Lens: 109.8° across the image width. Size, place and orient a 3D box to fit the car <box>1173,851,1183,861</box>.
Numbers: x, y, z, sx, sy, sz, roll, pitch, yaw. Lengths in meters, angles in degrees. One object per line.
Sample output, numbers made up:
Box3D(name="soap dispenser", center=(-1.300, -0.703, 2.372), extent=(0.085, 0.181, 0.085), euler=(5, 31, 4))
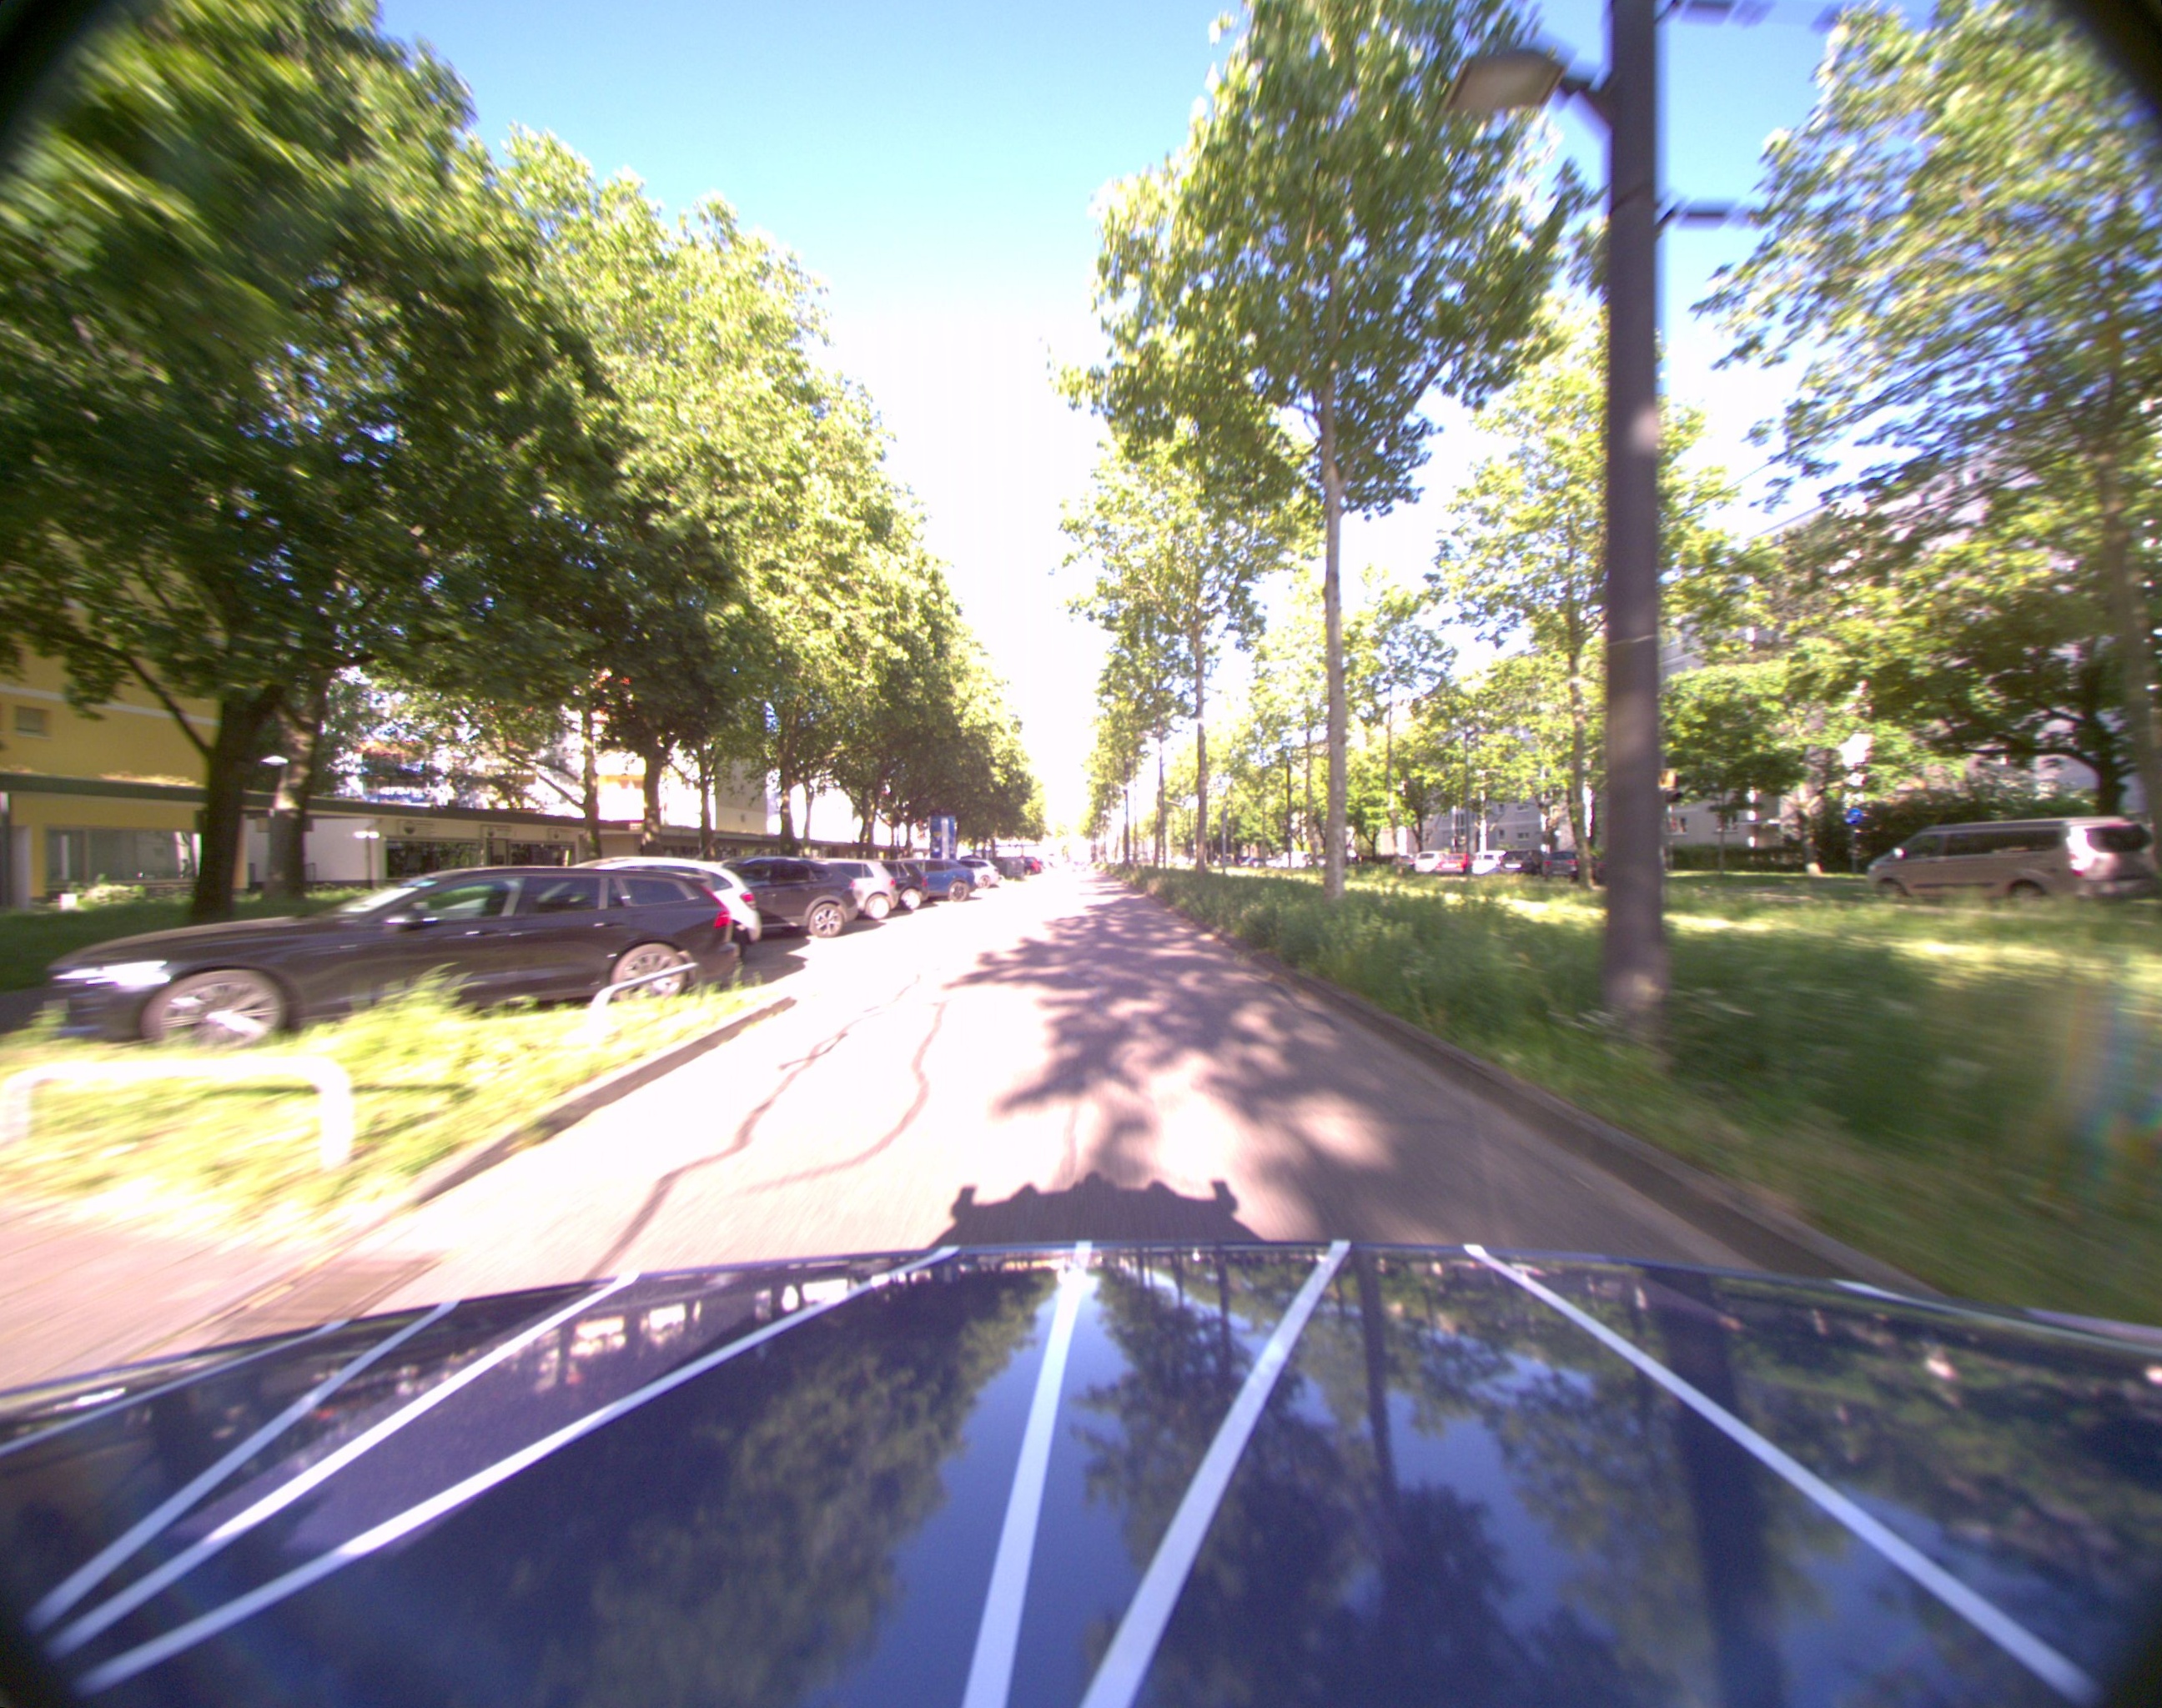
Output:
Box3D(name="car", center=(22.535, 0.557, 176.850), extent=(1.718, 2.249, 3.933), euler=(-1, 0, 0))

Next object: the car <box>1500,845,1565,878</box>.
Box3D(name="car", center=(24.542, 0.366, 41.260), extent=(4.496, 1.665, 1.790), euler=(-1, 0, -42))

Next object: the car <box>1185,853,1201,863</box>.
Box3D(name="car", center=(19.210, 0.681, 130.447), extent=(1.929, 1.497, 4.084), euler=(-3, 0, -1))

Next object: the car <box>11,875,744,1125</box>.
Box3D(name="car", center=(-5.979, 1.011, 7.255), extent=(1.973, 1.450, 4.634), euler=(0, 1, 44))

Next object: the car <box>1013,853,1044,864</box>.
Box3D(name="car", center=(-6.844, 0.594, 98.951), extent=(3.947, 1.365, 1.583), euler=(0, 0, -43))

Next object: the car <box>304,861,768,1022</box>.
Box3D(name="car", center=(-6.835, 0.916, 10.002), extent=(4.634, 1.561, 1.851), euler=(-1, 1, -43))

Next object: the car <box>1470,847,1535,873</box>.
Box3D(name="car", center=(25.155, 0.353, 45.295), extent=(4.495, 1.473, 1.613), euler=(-1, 0, -36))

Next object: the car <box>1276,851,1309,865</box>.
Box3D(name="car", center=(23.562, 0.453, 84.618), extent=(4.093, 1.424, 1.575), euler=(-1, 2, -41))

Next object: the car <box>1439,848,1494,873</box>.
Box3D(name="car", center=(24.182, 0.410, 47.655), extent=(3.929, 1.479, 1.790), euler=(-1, 0, -42))

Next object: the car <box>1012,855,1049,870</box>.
Box3D(name="car", center=(-5.349, 0.900, 81.144), extent=(3.795, 1.461, 1.646), euler=(0, 0, -43))

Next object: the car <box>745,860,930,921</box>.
Box3D(name="car", center=(-6.647, 0.918, 21.002), extent=(4.471, 1.442, 1.914), euler=(0, 2, -42))

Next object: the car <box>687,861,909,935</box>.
Box3D(name="car", center=(-6.504, 0.927, 17.812), extent=(4.471, 1.442, 1.914), euler=(0, 2, -44))

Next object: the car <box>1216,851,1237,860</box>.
Box3D(name="car", center=(24.563, 0.303, 128.193), extent=(1.835, 1.426, 3.833), euler=(-1, 0, 41))

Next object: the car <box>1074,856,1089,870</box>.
Box3D(name="car", center=(0.112, 1.014, 89.102), extent=(1.619, 1.536, 4.277), euler=(-1, 0, 1))

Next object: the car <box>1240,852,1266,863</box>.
Box3D(name="car", center=(24.746, 0.515, 109.327), extent=(1.647, 1.466, 4.094), euler=(-6, -4, 43))

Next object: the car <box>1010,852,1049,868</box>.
Box3D(name="car", center=(-5.753, 0.655, 84.661), extent=(4.036, 1.695, 1.756), euler=(0, 0, -41))

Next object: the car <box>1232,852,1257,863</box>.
Box3D(name="car", center=(24.429, 0.532, 113.269), extent=(1.647, 1.636, 4.094), euler=(-4, -3, 44))

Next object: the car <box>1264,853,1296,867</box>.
Box3D(name="car", center=(24.021, 0.704, 91.666), extent=(4.093, 1.636, 1.647), euler=(-1, -2, -41))

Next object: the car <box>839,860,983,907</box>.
Box3D(name="car", center=(-5.573, 0.914, 25.297), extent=(4.339, 1.416, 1.851), euler=(0, 0, -43))

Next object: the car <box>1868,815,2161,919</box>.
Box3D(name="car", center=(22.265, 0.250, 18.260), extent=(1.649, 2.081, 4.915), euler=(-4, 0, 2))

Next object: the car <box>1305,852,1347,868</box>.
Box3D(name="car", center=(24.106, 0.565, 74.731), extent=(4.092, 1.521, 1.814), euler=(0, -1, -34))

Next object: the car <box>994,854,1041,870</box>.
Box3D(name="car", center=(-5.894, 0.734, 70.350), extent=(4.093, 1.472, 1.647), euler=(0, 0, -36))

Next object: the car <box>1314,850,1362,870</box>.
Box3D(name="car", center=(24.126, 0.571, 71.355), extent=(4.092, 1.596, 1.993), euler=(-1, -8, -33))

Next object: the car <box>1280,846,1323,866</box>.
Box3D(name="car", center=(23.727, 0.214, 81.733), extent=(4.808, 1.994, 1.888), euler=(-1, -1, -38))

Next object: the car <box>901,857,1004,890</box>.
Box3D(name="car", center=(-6.020, 0.884, 35.932), extent=(4.503, 1.435, 1.851), euler=(0, 0, -43))

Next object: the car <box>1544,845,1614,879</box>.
Box3D(name="car", center=(24.480, 0.362, 37.271), extent=(4.496, 1.559, 1.790), euler=(-1, 0, -42))

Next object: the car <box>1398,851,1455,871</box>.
Box3D(name="car", center=(24.879, 0.461, 54.721), extent=(4.139, 1.330, 1.791), euler=(-1, 1, -33))

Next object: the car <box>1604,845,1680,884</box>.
Box3D(name="car", center=(24.243, 0.402, 32.758), extent=(4.496, 1.559, 1.790), euler=(-1, 0, -42))

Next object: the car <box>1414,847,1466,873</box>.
Box3D(name="car", center=(24.563, 0.384, 51.914), extent=(3.987, 1.665, 1.782), euler=(-1, 0, -42))

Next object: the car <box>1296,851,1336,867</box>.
Box3D(name="car", center=(24.331, 0.465, 78.642), extent=(4.091, 1.424, 1.576), euler=(-3, 0, -34))

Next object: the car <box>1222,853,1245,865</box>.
Box3D(name="car", center=(23.465, 0.745, 116.738), extent=(1.646, 1.637, 4.093), euler=(2, 2, 41))

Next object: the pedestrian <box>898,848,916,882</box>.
Box3D(name="pedestrian", center=(-10.072, 0.635, 44.021), extent=(0.875, 1.903, 0.871), euler=(-1, 0, -8))

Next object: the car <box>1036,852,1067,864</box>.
Box3D(name="car", center=(-4.583, 0.673, 117.584), extent=(4.680, 1.842, 1.825), euler=(0, 0, -40))

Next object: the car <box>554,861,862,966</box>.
Box3D(name="car", center=(-6.541, 0.914, 13.710), extent=(4.634, 1.561, 1.851), euler=(0, 0, -45))

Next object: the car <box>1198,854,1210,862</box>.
Box3D(name="car", center=(24.449, 0.725, 151.064), extent=(1.718, 1.536, 4.201), euler=(-1, 0, 1))
